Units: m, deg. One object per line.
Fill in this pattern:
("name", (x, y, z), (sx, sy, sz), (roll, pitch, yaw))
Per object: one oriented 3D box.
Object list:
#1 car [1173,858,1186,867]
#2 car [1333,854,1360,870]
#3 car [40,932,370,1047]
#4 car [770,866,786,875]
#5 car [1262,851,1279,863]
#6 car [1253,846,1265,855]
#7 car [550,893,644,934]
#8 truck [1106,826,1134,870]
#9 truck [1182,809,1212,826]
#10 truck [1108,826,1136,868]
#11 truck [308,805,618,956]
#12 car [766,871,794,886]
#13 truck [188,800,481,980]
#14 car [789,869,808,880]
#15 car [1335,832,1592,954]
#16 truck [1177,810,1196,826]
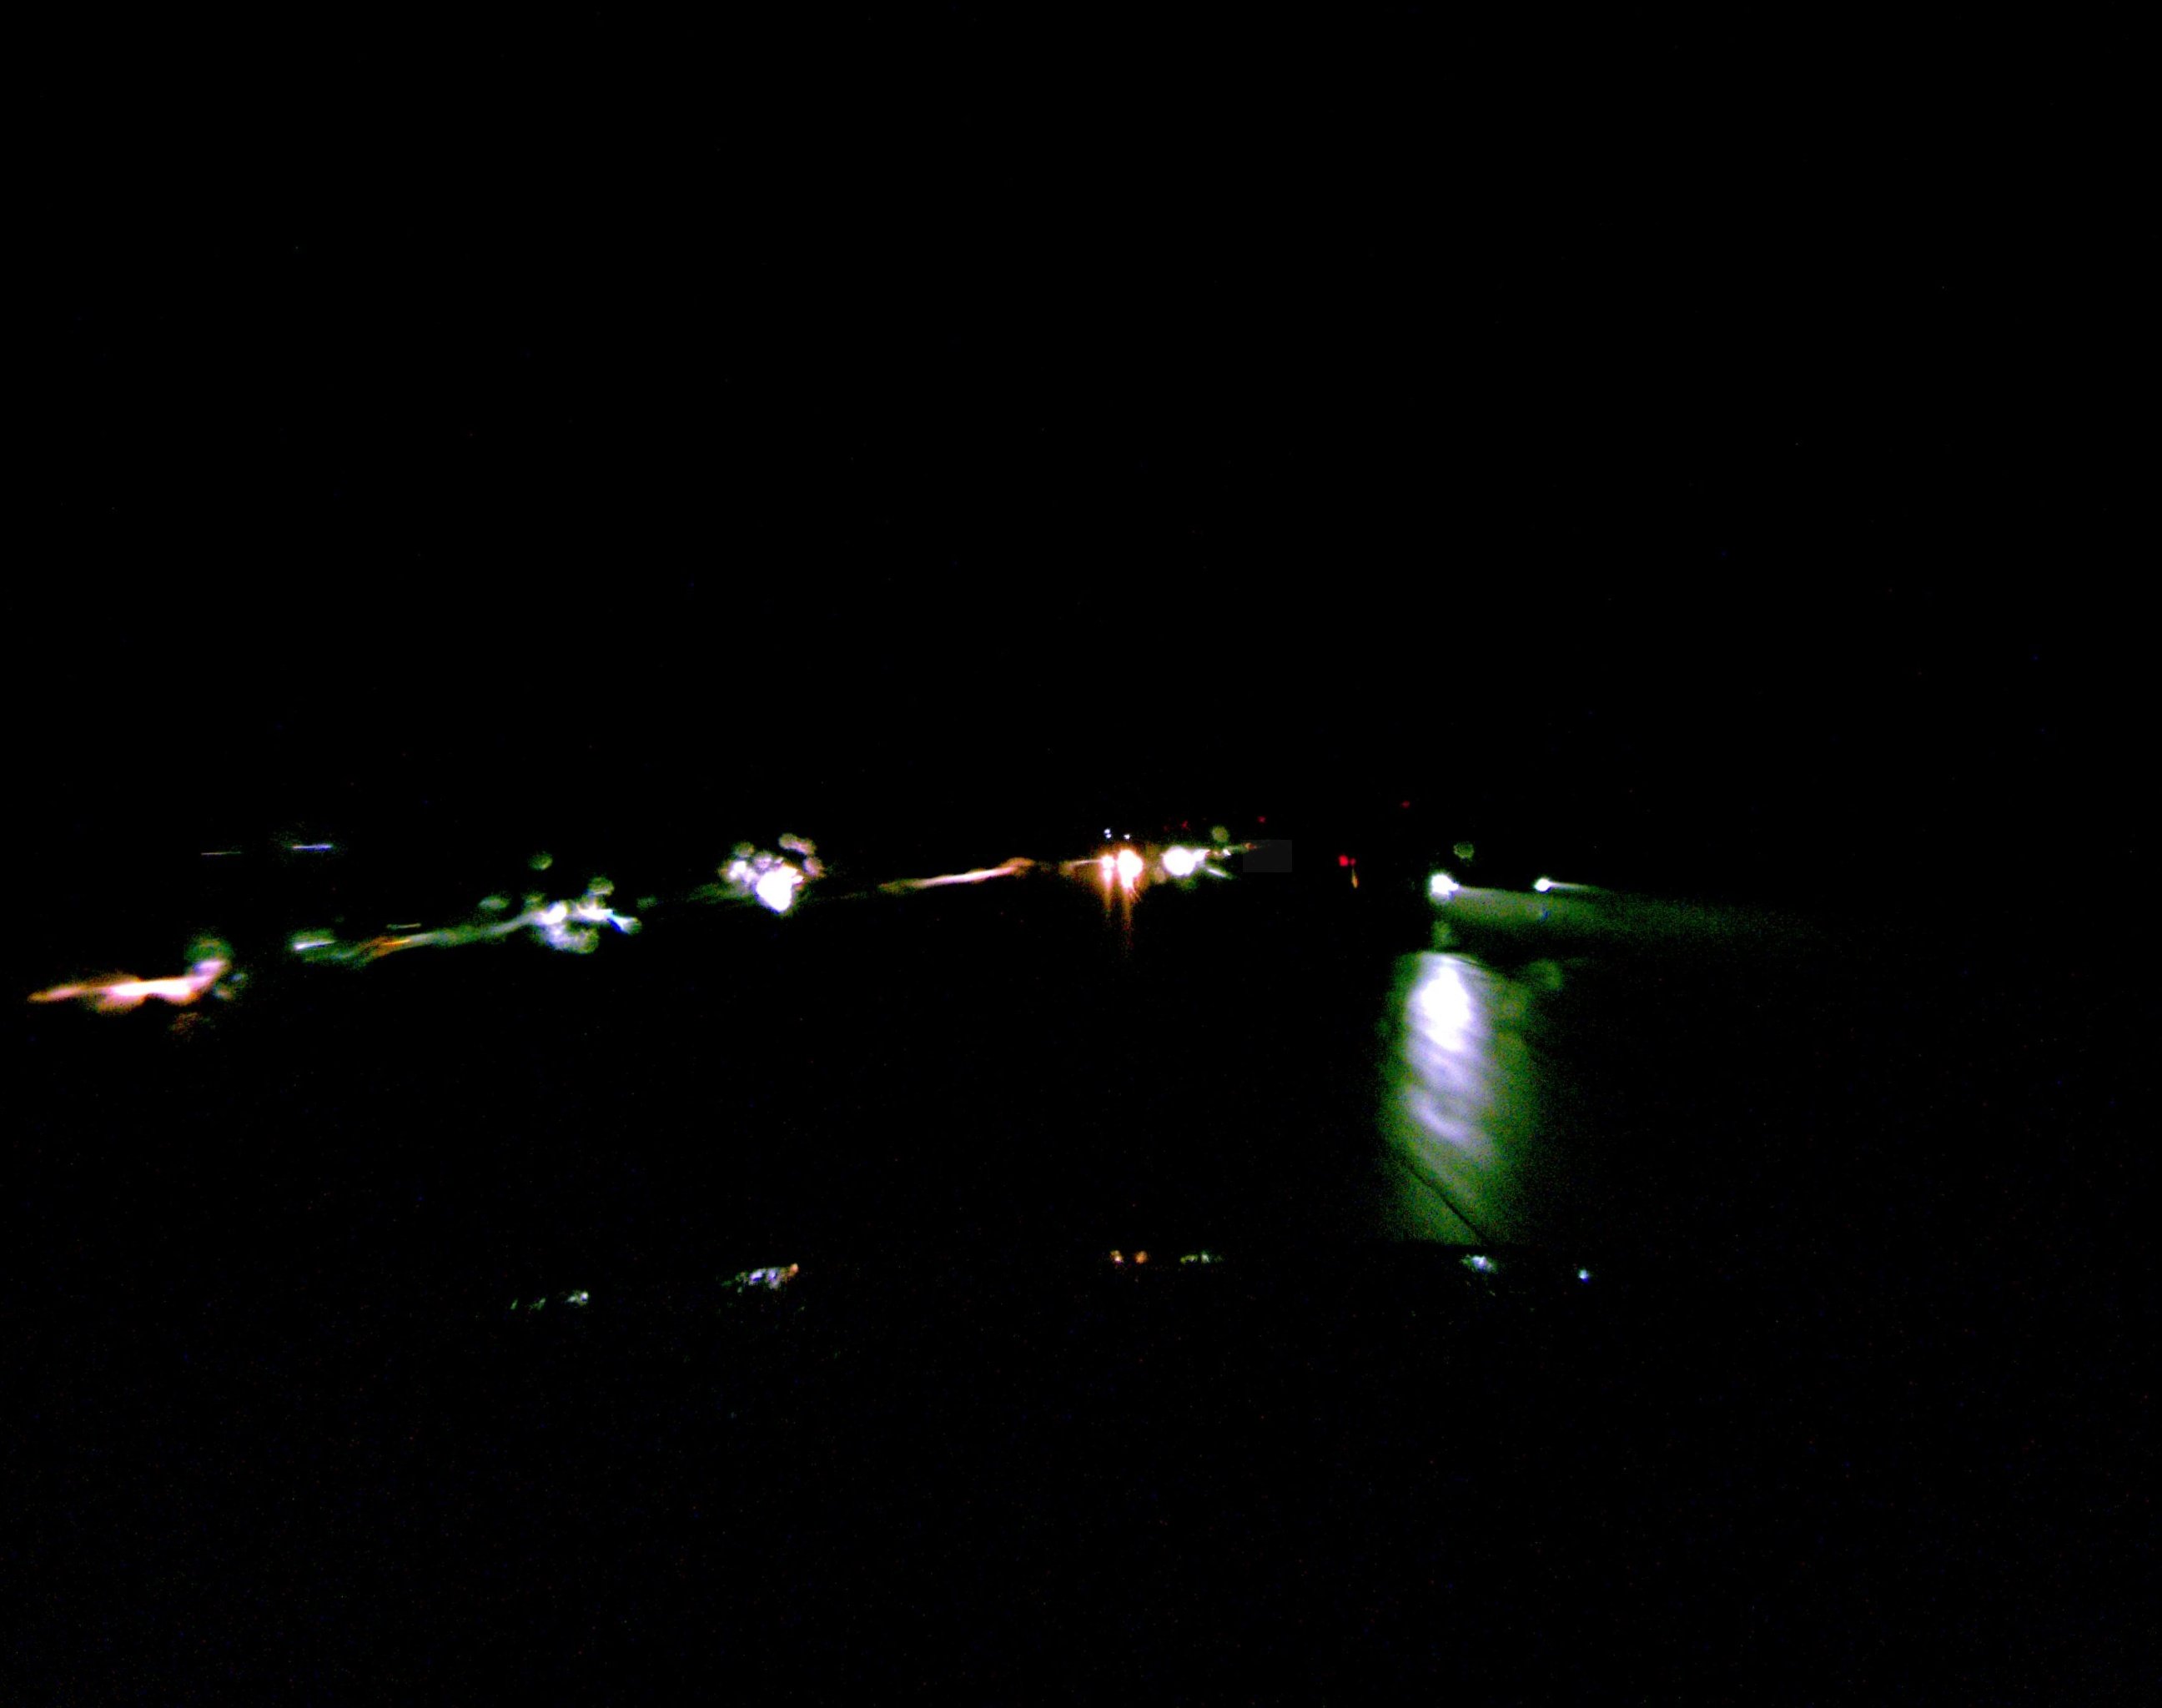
("car", (14.773, 1.348, 114.312), (1.711, 1.286, 3.993), (0, -1, 4))
("car", (27.740, 0.837, 79.497), (1.776, 1.622, 4.001), (0, 0, 4))
("car", (-14.513, 2.149, 12.990), (1.713, 1.286, 3.987), (0, -1, -14))
("car", (-46.950, 2.585, 117.923), (1.713, 1.286, 3.987), (0, -1, -13))
("car", (27.823, 0.421, 111.473), (1.776, 1.623, 4.000), (0, 2, 4))
("car", (35.497, -0.638, 151.434), (1.776, 1.623, 4.000), (0, 2, 4))
("car", (-17.928, 2.171, 28.350), (1.713, 1.286, 3.987), (0, -1, -13))
("truck", (3.997, -0.640, 76.845), (2.502, 4.224, 5.983), (1, 2, 6))
("truck", (27.547, -8.601, 181.116), (2.419, 3.759, 11.211), (0, 2, -18))
("truck", (4.692, -0.870, 84.232), (2.502, 4.224, 13.644), (1, 2, 5))
("truck", (-21.428, 0.557, 28.137), (2.768, 4.199, 13.808), (0, 2, -12))
("car", (-25.989, 2.089, 65.656), (1.713, 1.286, 3.987), (0, -1, -13))
("truck", (-19.957, 0.760, 20.973), (2.768, 4.199, 6.186), (0, 2, -12))
("car", (-33.588, 2.435, 90.450), (1.714, 1.286, 3.986), (0, -1, -15))
("car", (6.827, 0.531, 14.517), (2.142, 1.874, 5.554), (0, 2, 1))
("truck", (25.911, -8.754, 186.149), (2.419, 3.759, 5.420), (0, 2, -18))
